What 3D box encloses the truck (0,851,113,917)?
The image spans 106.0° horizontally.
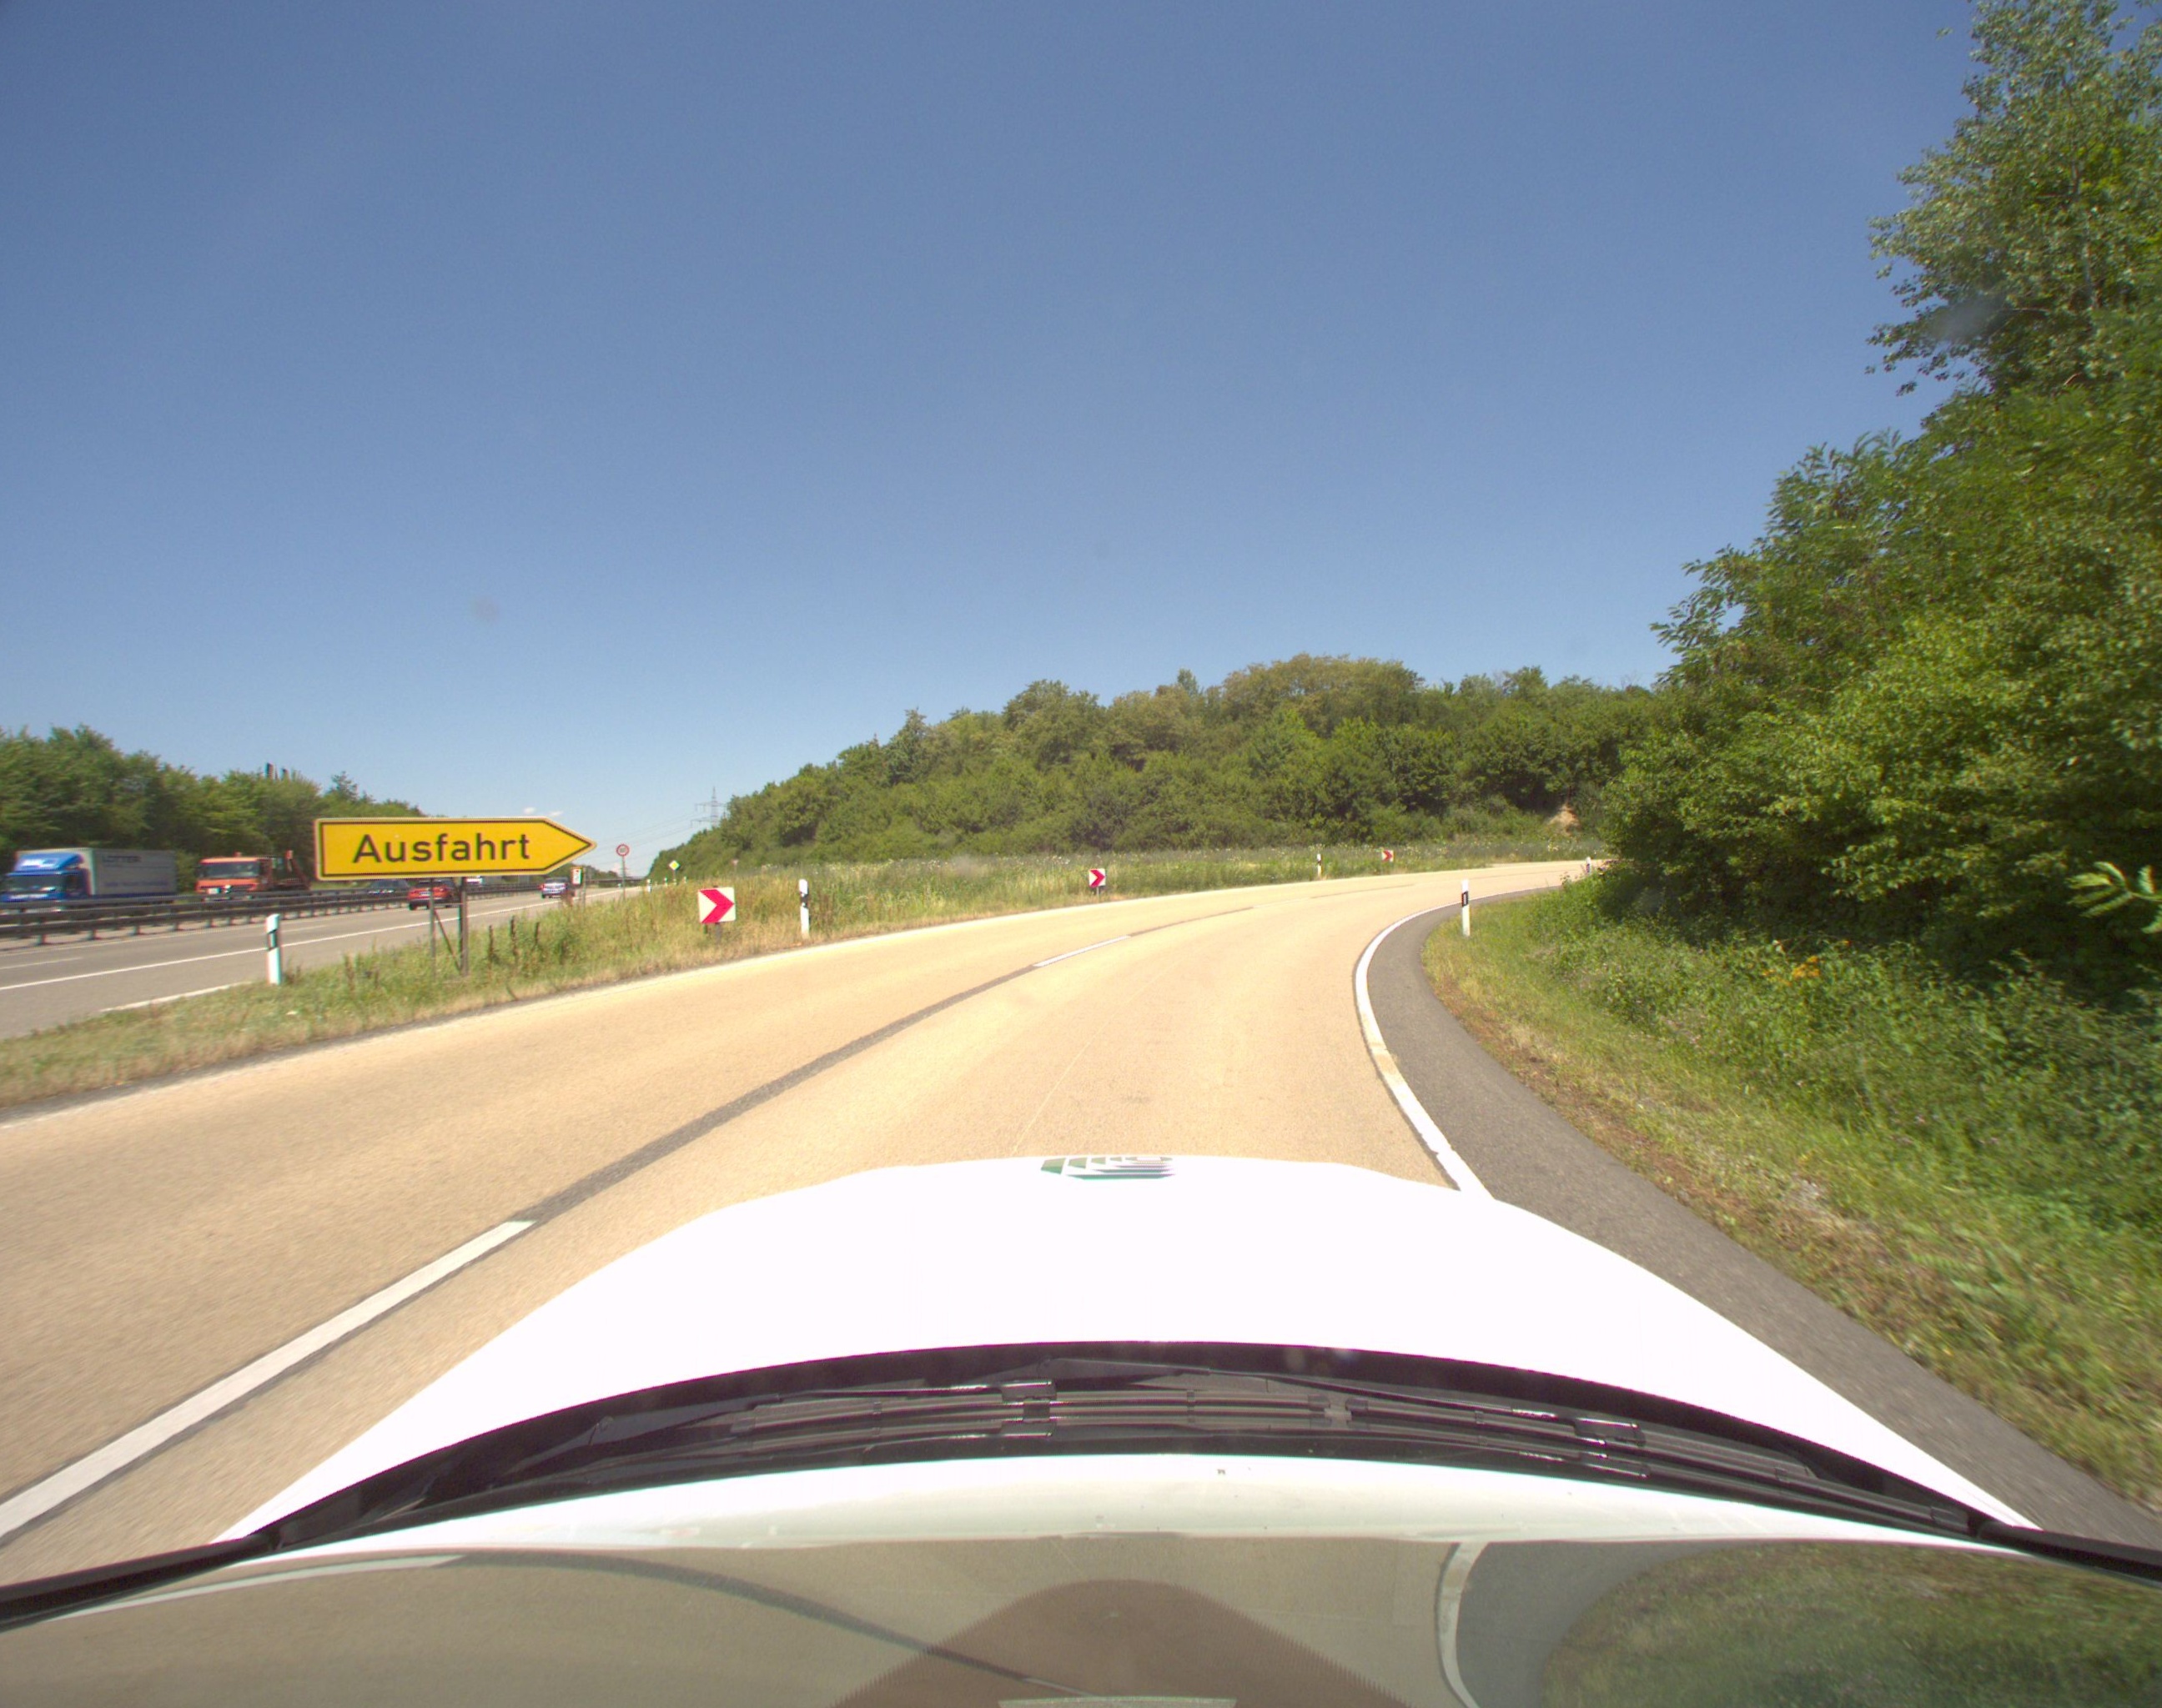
[{"bbox_3d":[-49.800,1.401,39.552,2.318,3.009,3.054,-2,0,-22],"label":"truck"}]

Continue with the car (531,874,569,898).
[{"bbox_3d":[-38.645,2.334,59.335,1.752,1.577,3.353,-2,0,-24],"label":"car"}]

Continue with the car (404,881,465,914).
[{"bbox_3d":[-35.148,2.316,44.349,1.752,1.554,3.353,-2,0,-24],"label":"car"}]

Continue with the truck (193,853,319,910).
[{"bbox_3d":[-49.446,1.612,49.151,2.607,3.062,8.136,-2,-1,-25],"label":"truck"}]

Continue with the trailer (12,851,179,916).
[{"bbox_3d":[-50.993,1.428,42.472,2.307,3.009,7.169,-2,0,-22],"label":"trailer"}]
